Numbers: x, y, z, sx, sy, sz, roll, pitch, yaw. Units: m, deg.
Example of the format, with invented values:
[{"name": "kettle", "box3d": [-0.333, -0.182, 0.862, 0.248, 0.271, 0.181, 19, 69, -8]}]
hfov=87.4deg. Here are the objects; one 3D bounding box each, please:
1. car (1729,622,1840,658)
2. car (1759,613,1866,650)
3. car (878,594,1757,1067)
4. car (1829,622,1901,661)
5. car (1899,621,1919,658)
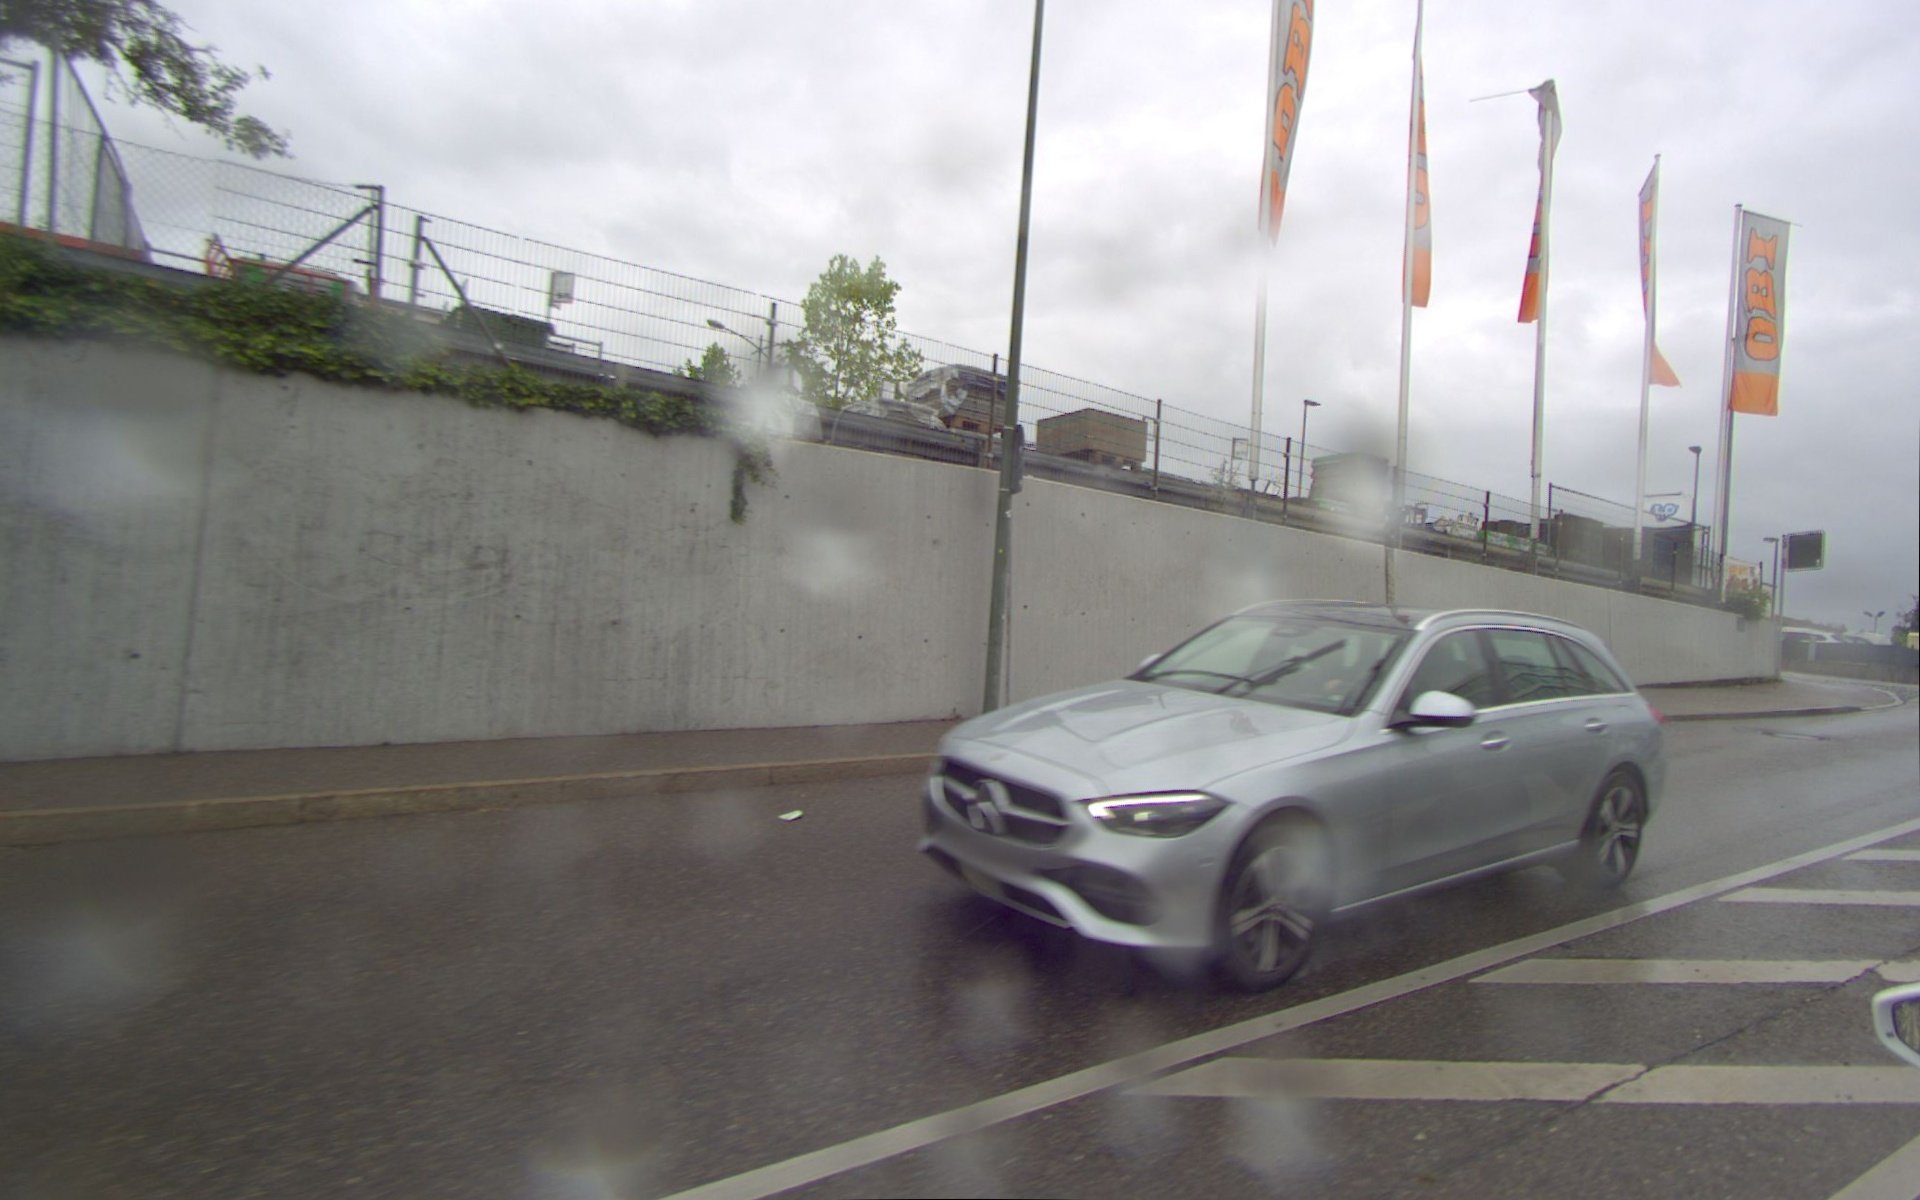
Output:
[{"name": "car", "box3d": [37.884, 1.822, 46.208, 1.981, 1.302, 3.507, 5, 0, -34]}, {"name": "car", "box3d": [39.963, 1.455, 47.144, 1.415, 1.438, 3.507, 5, 0, -34]}, {"name": "car", "box3d": [2.117, 0.754, 5.349, 4.732, 1.446, 1.988, 1, 2, -34]}, {"name": "car", "box3d": [51.650, 2.354, 57.318, 4.951, 2.041, 1.980, 1, 1, -36]}, {"name": "car", "box3d": [55.684, 2.273, 57.365, 4.950, 2.041, 1.980, 1, 1, -35]}]
